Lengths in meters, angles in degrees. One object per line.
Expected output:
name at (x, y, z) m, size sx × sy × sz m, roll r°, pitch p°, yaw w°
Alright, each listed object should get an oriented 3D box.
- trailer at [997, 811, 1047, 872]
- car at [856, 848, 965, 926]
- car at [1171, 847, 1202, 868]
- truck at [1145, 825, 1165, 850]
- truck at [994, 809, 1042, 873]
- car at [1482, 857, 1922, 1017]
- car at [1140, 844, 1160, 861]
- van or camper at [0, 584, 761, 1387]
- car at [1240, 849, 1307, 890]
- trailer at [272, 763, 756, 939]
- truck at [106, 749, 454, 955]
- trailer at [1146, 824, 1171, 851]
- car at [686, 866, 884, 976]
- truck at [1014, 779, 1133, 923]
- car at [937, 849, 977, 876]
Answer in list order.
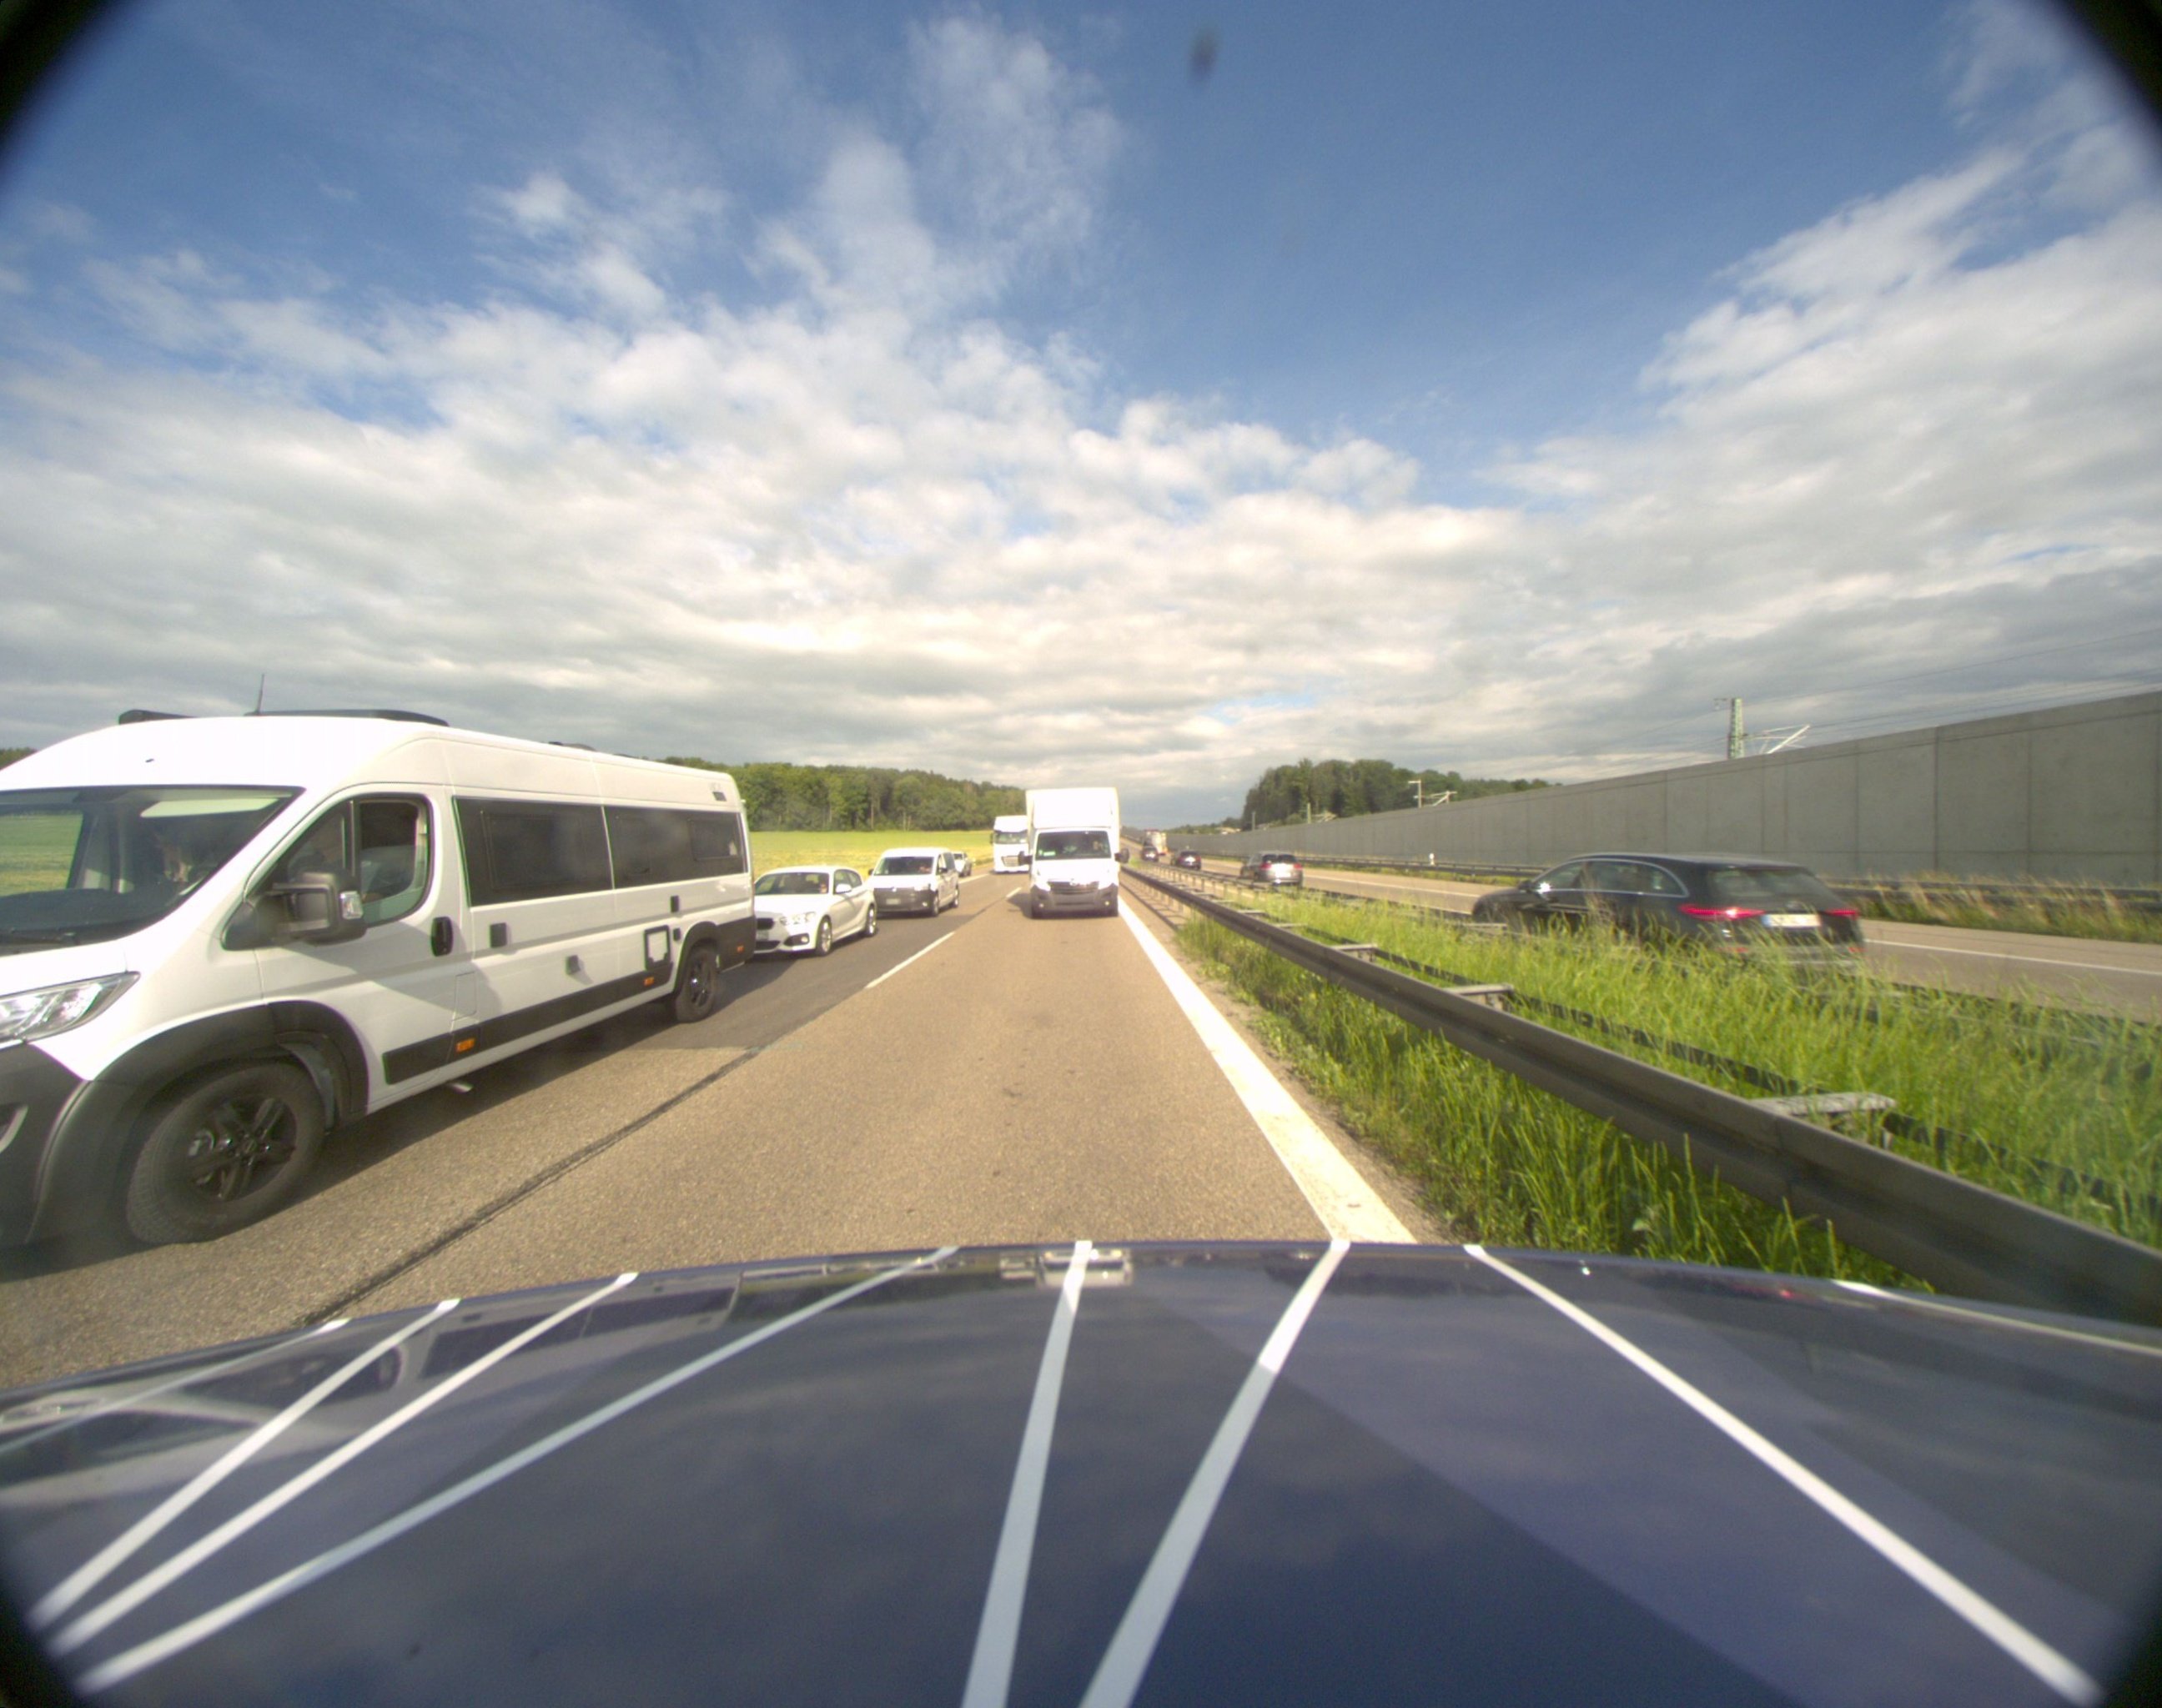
trailer at (-4.406, -1.063, 59.756) m, size 2.742 × 4.137 × 14.014 m, roll -2°, pitch 1°, yaw 0°
car at (-4.382, 0.756, 20.277) m, size 1.729 × 1.746 × 4.702 m, roll -2°, pitch 1°, yaw 0°
car at (7.973, 0.216, 57.710) m, size 1.702 × 1.490 × 4.426 m, roll -1°, pitch 1°, yaw 0°
truck at (11.660, -2.566, 120.708) m, size 2.589 × 3.900 × 5.721 m, roll 0°, pitch 1°, yaw 0°
truck at (-4.371, -0.929, 53.603) m, size 2.736 × 4.150 × 5.765 m, roll -2°, pitch 2°, yaw 0°
car at (6.724, 0.757, 8.971) m, size 1.746 × 1.350 × 4.231 m, roll -1°, pitch 1°, yaw 0°
car at (7.432, -0.201, 82.555) m, size 1.785 × 1.727 × 4.101 m, roll -1°, pitch 1°, yaw 0°
van or camper at (-4.710, 0.421, 5.289) m, size 2.221 × 2.665 × 6.331 m, roll -1°, pitch 1°, yaw 0°
car at (7.601, 0.559, 30.337) m, size 1.773 × 1.471 × 3.828 m, roll -1°, pitch 1°, yaw 1°
trailer at (-16.545, -0.139, 24.902) m, size 2.739 × 4.136 × 13.842 m, roll -2°, pitch 0°, yaw 15°
truck at (-18.406, -0.030, 17.902) m, size 2.717 × 4.149 × 4.765 m, roll -2°, pitch 1°, yaw 15°
trailer at (11.671, -2.498, 115.410) m, size 2.595 × 3.879 × 10.862 m, roll 0°, pitch 1°, yaw 0°
car at (-4.820, 1.002, 13.104) m, size 1.708 × 1.424 × 4.231 m, roll -2°, pitch 1°, yaw 0°
truck at (-0.188, -0.117, 22.682) m, size 2.500 × 3.082 × 12.036 m, roll -2°, pitch 1°, yaw 0°
car at (-7.993, 0.518, 49.278) m, size 1.808 × 1.583 × 4.675 m, roll -1°, pitch 1°, yaw 0°
